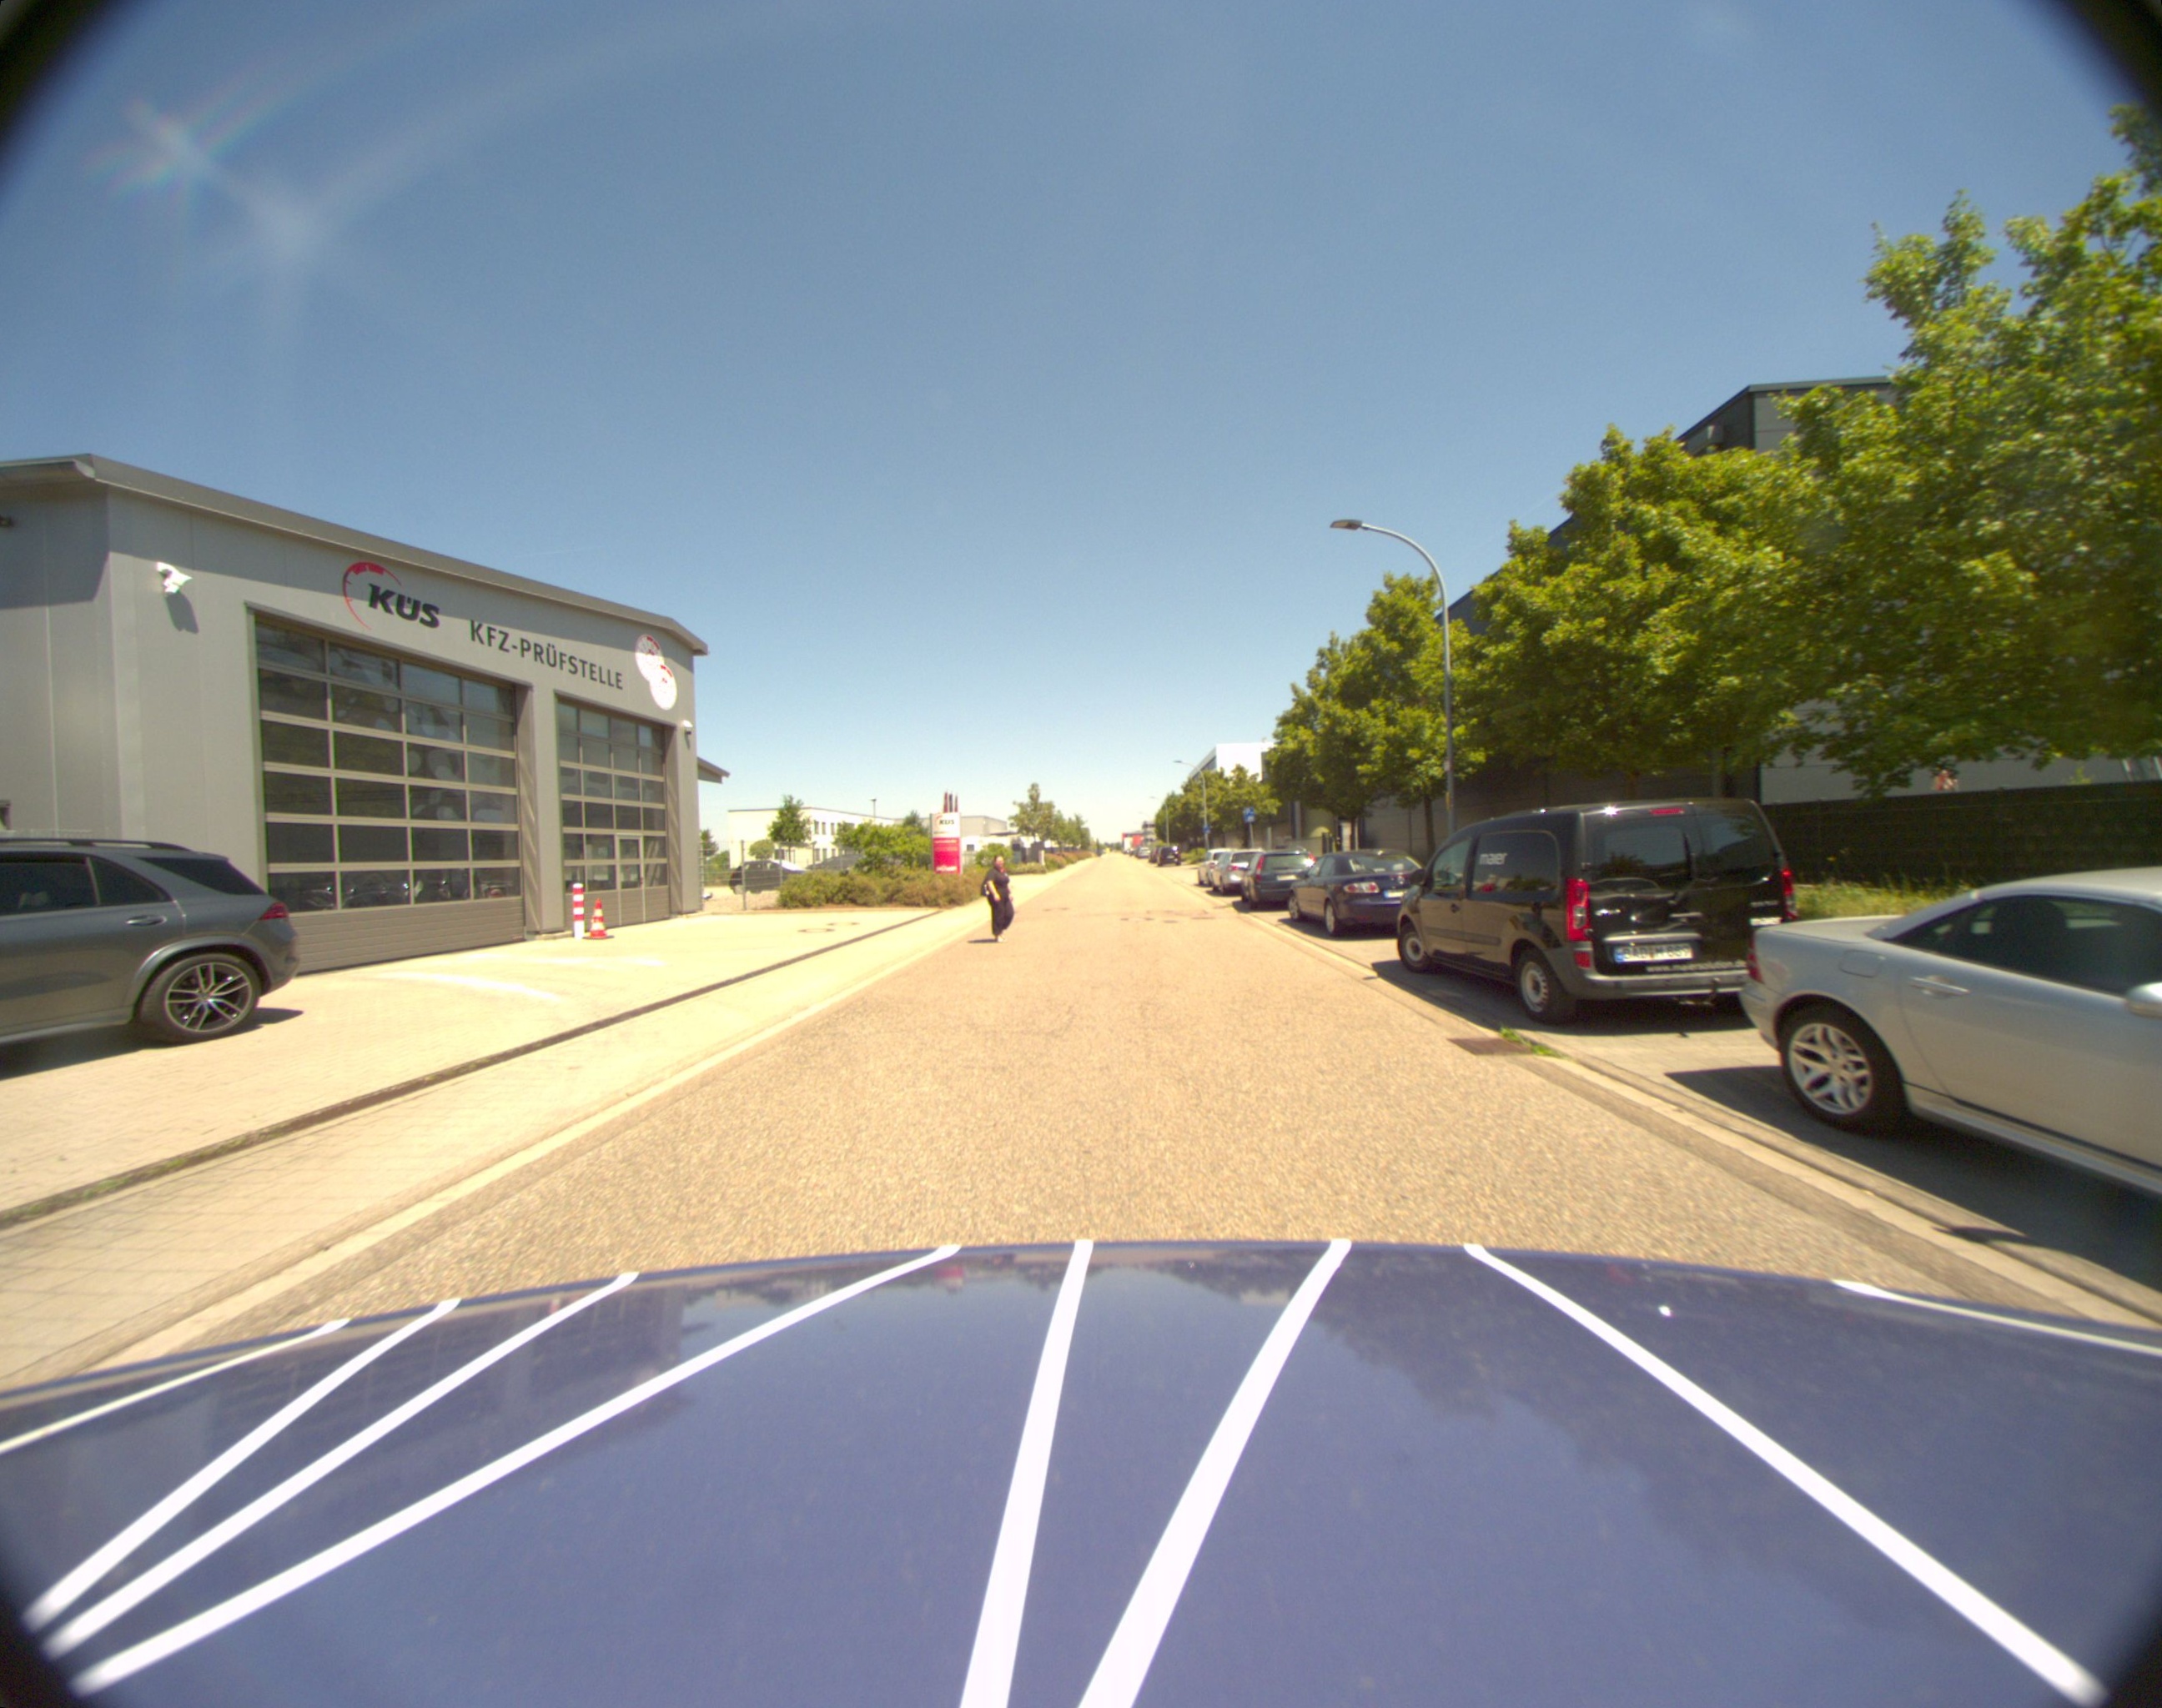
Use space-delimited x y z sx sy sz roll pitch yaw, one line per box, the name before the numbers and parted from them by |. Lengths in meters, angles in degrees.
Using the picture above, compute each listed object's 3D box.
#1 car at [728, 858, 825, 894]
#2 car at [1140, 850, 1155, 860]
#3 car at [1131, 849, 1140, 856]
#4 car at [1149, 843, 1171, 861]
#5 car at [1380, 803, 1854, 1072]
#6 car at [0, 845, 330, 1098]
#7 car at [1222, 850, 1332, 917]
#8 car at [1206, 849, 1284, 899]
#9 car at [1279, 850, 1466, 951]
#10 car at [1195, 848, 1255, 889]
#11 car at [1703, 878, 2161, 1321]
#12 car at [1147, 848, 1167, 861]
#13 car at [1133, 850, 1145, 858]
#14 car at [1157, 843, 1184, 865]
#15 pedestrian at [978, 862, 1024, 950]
car | -12.940 0.913 32.416 3.359 1.361 1.792 -2 0 -2
car | 9.036 0.115 103.949 1.798 1.319 3.831 -3 0 2
car | 11.991 -0.331 166.307 1.798 1.319 3.831 -3 0 2
car | 7.733 -0.192 74.472 1.798 1.701 3.831 -3 0 2
car | 4.552 0.585 7.376 1.835 1.800 4.083 -3 0 4
car | -8.810 0.851 5.221 2.156 1.800 4.915 -1 1 5
car | 4.982 0.684 19.939 1.798 1.477 4.452 -3 0 2
car | 5.439 0.610 25.737 1.798 1.477 4.190 -3 0 2
car | 5.031 0.703 13.834 1.798 1.456 4.452 -3 0 3
car | 5.877 0.552 31.459 1.798 1.477 3.969 -3 0 2
car | 4.357 0.850 2.421 1.647 1.303 4.001 -3 0 5
car | 8.105 0.035 80.875 1.798 1.319 3.831 -3 0 2
car | 9.732 -0.071 128.545 1.798 1.319 3.831 -1 0 2
car | 7.325 -0.013 62.565 1.798 1.638 3.831 -3 0 2
pedestrian | -1.459 0.925 13.926 0.533 1.559 0.682 1 1 31
